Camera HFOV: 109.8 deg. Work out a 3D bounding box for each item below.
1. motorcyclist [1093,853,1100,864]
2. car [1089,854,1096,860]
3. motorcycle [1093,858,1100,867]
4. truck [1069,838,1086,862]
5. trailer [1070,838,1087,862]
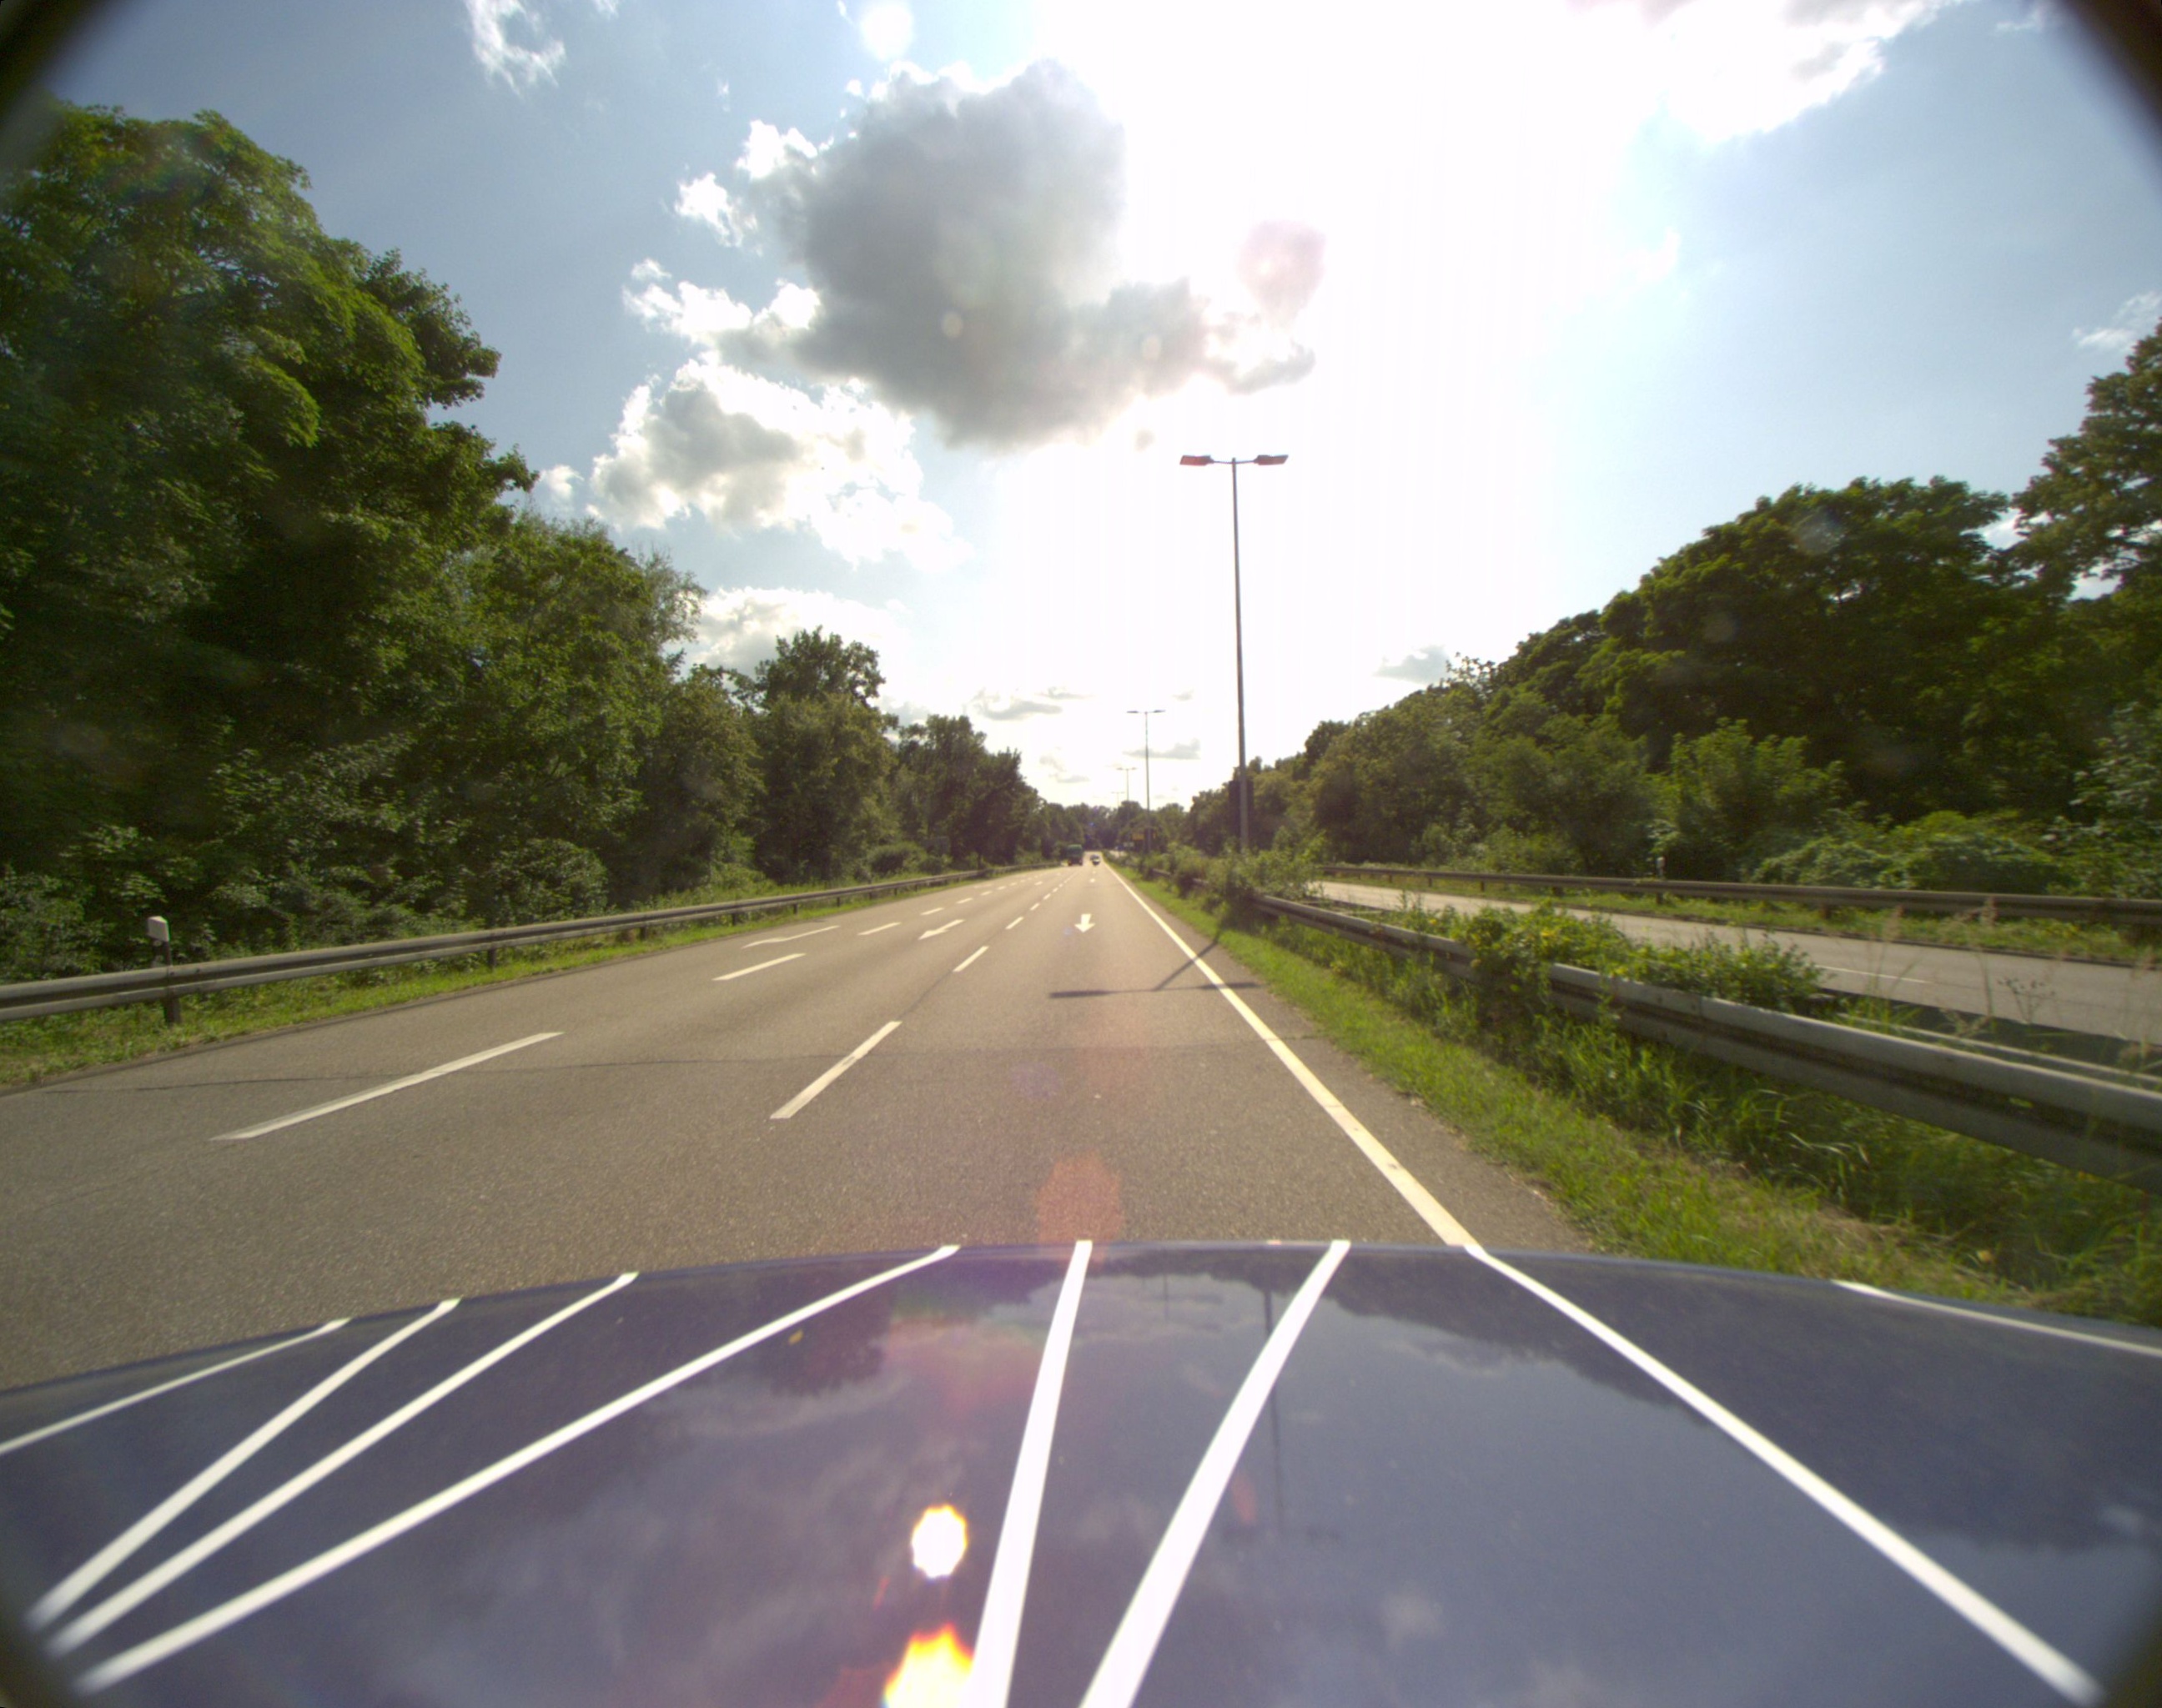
[{"bbox_3d":[2.245,0.606,110.358,0.939,1.581,1.083,-1,0,1],"label":"motorcyclist"},{"bbox_3d":[3.127,0.792,201.418,1.735,1.467,4.047,-1,-1,2],"label":"car"},{"bbox_3d":[2.258,1.213,110.360,0.939,1.375,2.370,-1,0,1],"label":"motorcycle"},{"bbox_3d":[-0.542,-0.654,130.366,2.591,3.870,6.062,-3,0,1],"label":"truck"},{"bbox_3d":[-0.388,-0.600,137.617,2.591,3.870,14.503,-3,-1,1],"label":"trailer"}]
